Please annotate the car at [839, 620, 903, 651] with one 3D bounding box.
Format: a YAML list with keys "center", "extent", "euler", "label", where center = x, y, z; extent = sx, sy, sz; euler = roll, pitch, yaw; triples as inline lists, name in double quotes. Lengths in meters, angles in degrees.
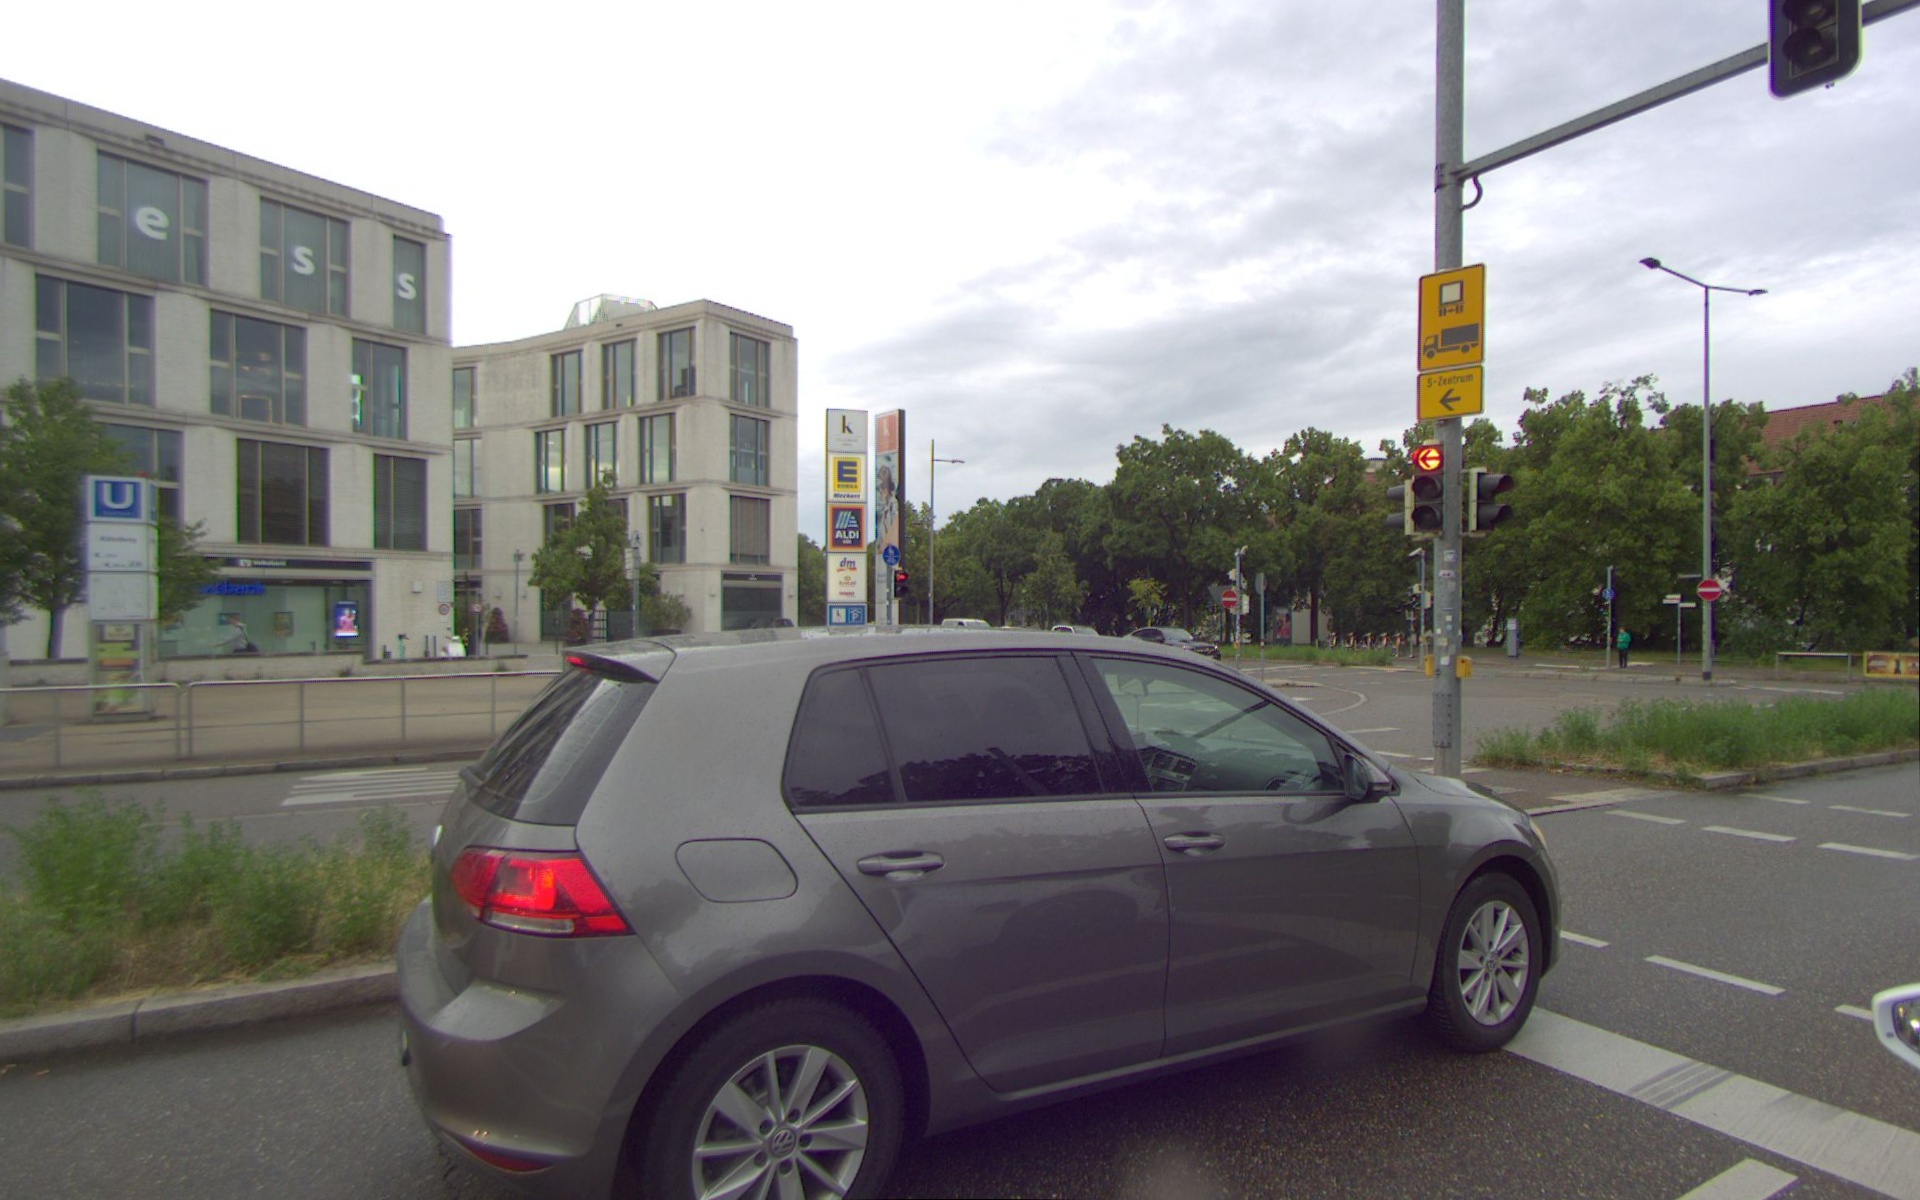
- center: [-5.331, 2.106, 59.702]
  extent: [1.976, 1.615, 4.855]
  euler: [2, 0, -29]
  label: "car"

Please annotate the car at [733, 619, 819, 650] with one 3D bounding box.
- center: [-9.189, 1.712, 50.322]
  extent: [1.968, 1.483, 3.985]
  euler: [0, -2, 37]
  label: "car"

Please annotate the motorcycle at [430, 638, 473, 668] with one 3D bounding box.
- center: [-14.142, 1.466, 27.934]
  extent: [1.081, 0.750, 0.522]
  euler: [2, 0, 29]
  label: "motorcycle"

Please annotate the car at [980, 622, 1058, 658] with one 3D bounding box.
- center: [2.927, 1.991, 50.938]
  extent: [1.976, 1.615, 4.185]
  euler: [2, 0, -29]
  label: "car"

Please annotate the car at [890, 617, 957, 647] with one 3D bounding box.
- center: [-2.259, 1.881, 60.397]
  extent: [1.976, 1.615, 4.855]
  euler: [2, 0, -29]
  label: "car"

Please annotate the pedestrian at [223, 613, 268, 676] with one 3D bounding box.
- center: [-18.954, 1.167, 26.630]
  extent: [0.907, 1.626, 0.756]
  euler: [2, -1, -39]
  label: "pedestrian"

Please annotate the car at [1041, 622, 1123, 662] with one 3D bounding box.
- center: [5.554, 1.906, 46.031]
  extent: [1.976, 1.615, 3.536]
  euler: [2, 0, -30]
  label: "car"

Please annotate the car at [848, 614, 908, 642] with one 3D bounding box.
- center: [-5.461, 1.810, 66.117]
  extent: [1.977, 1.615, 4.852]
  euler: [2, 0, -31]
  label: "car"

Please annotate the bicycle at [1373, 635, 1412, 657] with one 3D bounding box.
- center: [22.241, 2.358, 51.654]
  extent: [1.959, 1.085, 0.798]
  euler: [2, 0, -30]
  label: "bicycle"

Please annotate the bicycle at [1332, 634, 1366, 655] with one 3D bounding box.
- center: [20.936, 2.385, 54.039]
  extent: [1.959, 1.085, 0.649]
  euler: [2, 0, -30]
  label: "bicycle"

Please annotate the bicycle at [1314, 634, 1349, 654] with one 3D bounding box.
- center: [20.265, 2.399, 54.769]
  extent: [1.959, 1.085, 0.649]
  euler: [2, 0, -30]
  label: "bicycle"

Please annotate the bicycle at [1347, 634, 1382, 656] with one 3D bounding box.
- center: [21.369, 2.375, 53.039]
  extent: [1.959, 1.085, 0.649]
  euler: [2, 0, -30]
  label: "bicycle"

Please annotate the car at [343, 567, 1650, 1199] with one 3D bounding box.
- center: [0.377, 0.757, 3.593]
  extent: [4.325, 1.501, 1.807]
  euler: [2, -1, -30]
  label: "car"

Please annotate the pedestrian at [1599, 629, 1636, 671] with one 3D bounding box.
- center: [27.926, 2.121, 42.664]
  extent: [0.933, 1.750, 0.919]
  euler: [2, 0, -26]
  label: "pedestrian"

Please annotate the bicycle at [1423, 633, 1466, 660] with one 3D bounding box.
- center: [23.757, 2.276, 49.266]
  extent: [1.959, 1.266, 0.986]
  euler: [2, 0, -30]
  label: "bicycle"

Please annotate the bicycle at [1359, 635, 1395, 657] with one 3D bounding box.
- center: [21.670, 2.392, 52.178]
  extent: [1.959, 1.085, 0.649]
  euler: [2, 0, -30]
  label: "bicycle"

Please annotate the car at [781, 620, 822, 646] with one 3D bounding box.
- center: [-12.734, 2.657, 80.657]
  extent: [1.976, 2.040, 3.969]
  euler: [1, -1, -29]
  label: "car"

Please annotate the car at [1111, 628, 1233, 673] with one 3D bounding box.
- center: [8.393, 1.963, 40.244]
  extent: [1.976, 1.520, 5.001]
  euler: [2, 0, -29]
  label: "car"

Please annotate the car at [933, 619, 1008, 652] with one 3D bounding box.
- center: [0.530, 1.940, 55.409]
  extent: [1.976, 1.615, 4.855]
  euler: [2, 0, -29]
  label: "car"
